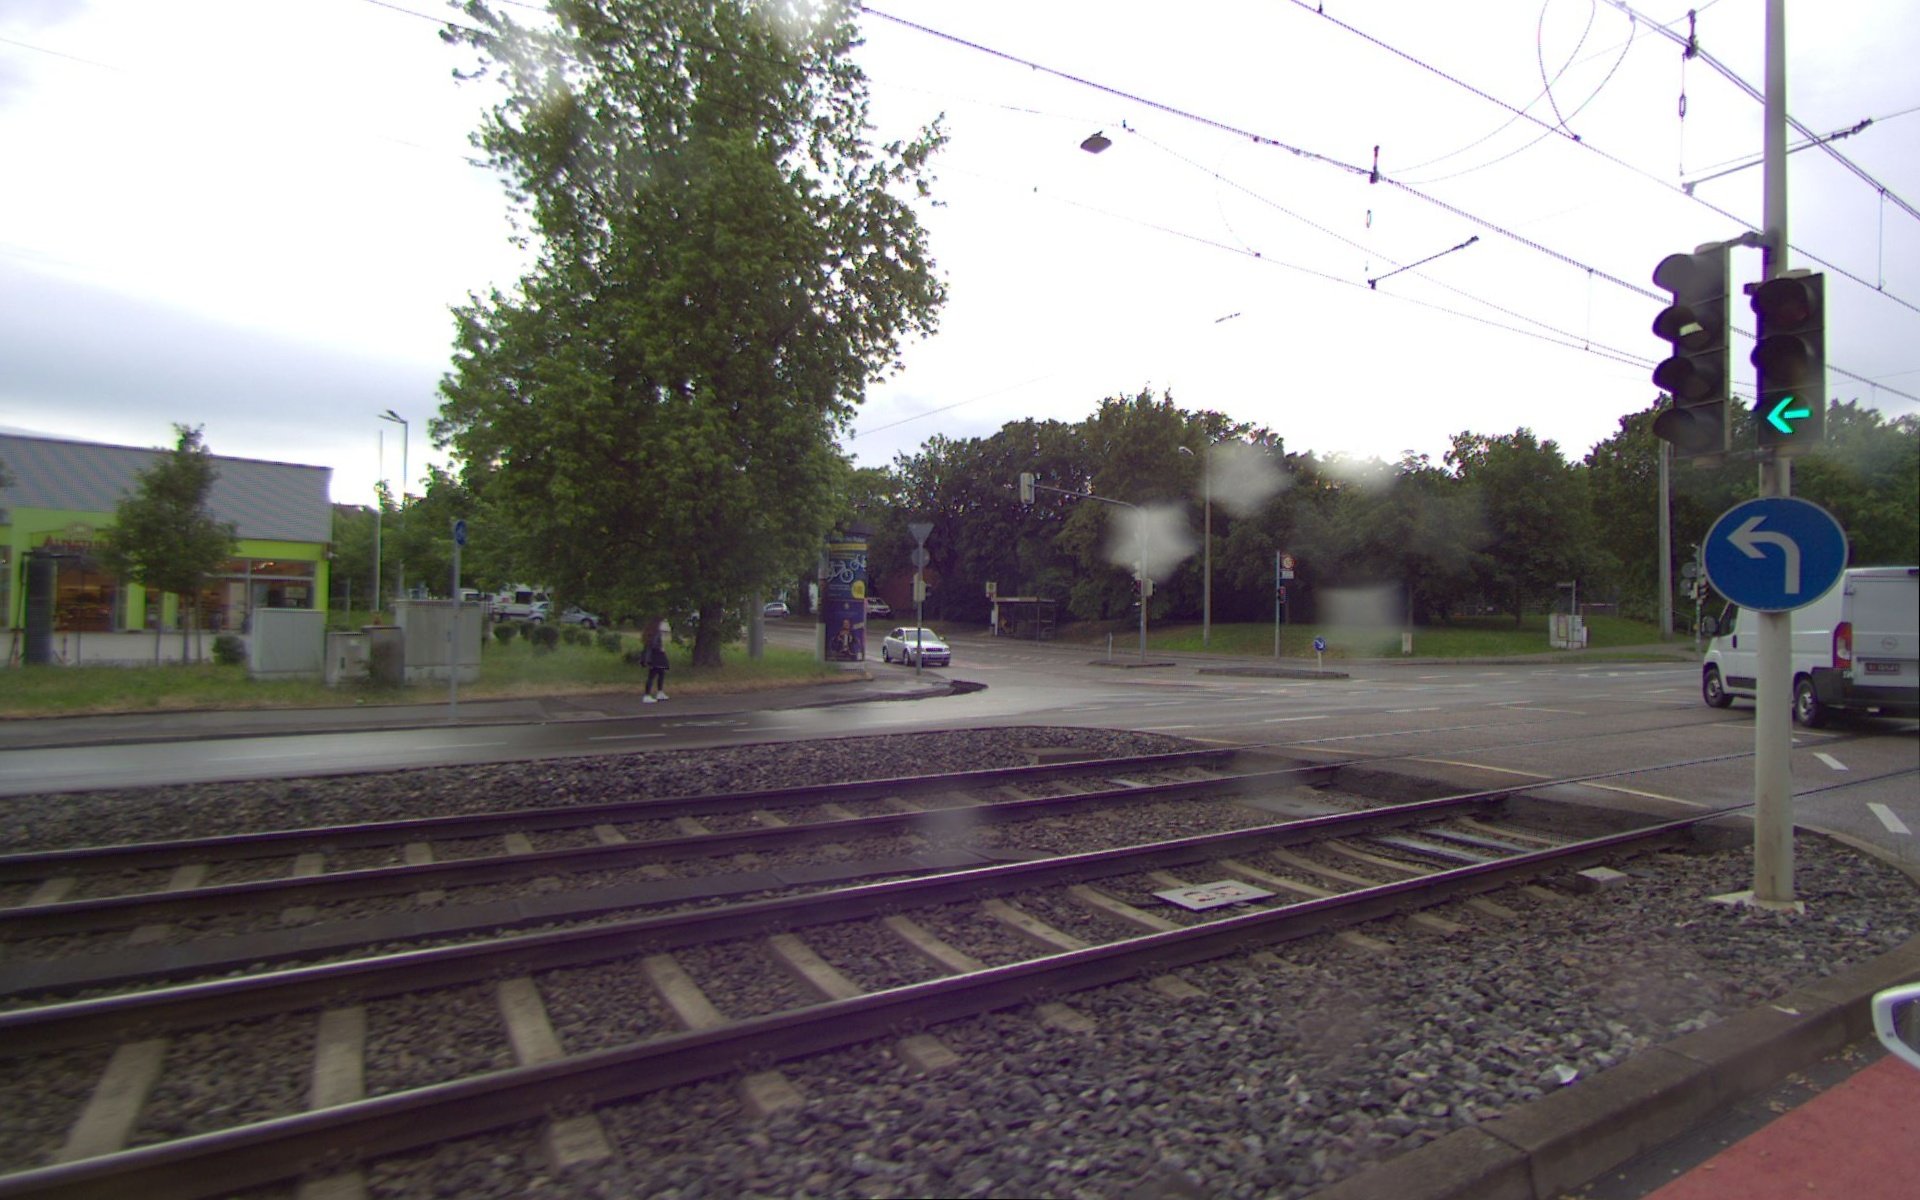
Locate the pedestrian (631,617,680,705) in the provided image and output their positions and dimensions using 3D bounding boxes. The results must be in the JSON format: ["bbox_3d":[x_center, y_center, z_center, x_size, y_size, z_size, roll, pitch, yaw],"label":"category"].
[{"bbox_3d":[-5.594,1.113,18.452,0.661,1.552,0.588,3,0,-31],"label":"pedestrian"}]

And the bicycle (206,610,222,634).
[{"bbox_3d":[-32.251,0.931,43.416,0.529,0.995,1.597,1,0,-38],"label":"bicycle"}]

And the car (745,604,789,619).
[{"bbox_3d":[-18.680,1.090,97.358,3.969,1.441,1.684,0,-1,-41],"label":"car"}]

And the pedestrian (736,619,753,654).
[{"bbox_3d":[-10.532,1.776,49.084,0.598,1.623,0.674,3,0,-24],"label":"pedestrian"}]

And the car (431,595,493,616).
[{"bbox_3d":[-35.939,0.394,72.505,3.663,1.502,1.582,0,-1,-4],"label":"car"}]

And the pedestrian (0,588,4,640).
[{"bbox_3d":[-29.917,0.412,30.695,0.750,1.618,0.798,3,0,-30],"label":"pedestrian"}]

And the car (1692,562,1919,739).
[{"bbox_3d":[13.464,0.668,15.537,2.111,2.314,5.062,0,0,20],"label":"car"}]

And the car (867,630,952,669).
[{"bbox_3d":[-2.051,1.930,39.405,1.573,1.456,4.394,1,-3,-29],"label":"car"}]

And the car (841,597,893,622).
[{"bbox_3d":[-7.725,0.764,82.959,1.981,1.829,5.095,4,-1,-35],"label":"car"}]
